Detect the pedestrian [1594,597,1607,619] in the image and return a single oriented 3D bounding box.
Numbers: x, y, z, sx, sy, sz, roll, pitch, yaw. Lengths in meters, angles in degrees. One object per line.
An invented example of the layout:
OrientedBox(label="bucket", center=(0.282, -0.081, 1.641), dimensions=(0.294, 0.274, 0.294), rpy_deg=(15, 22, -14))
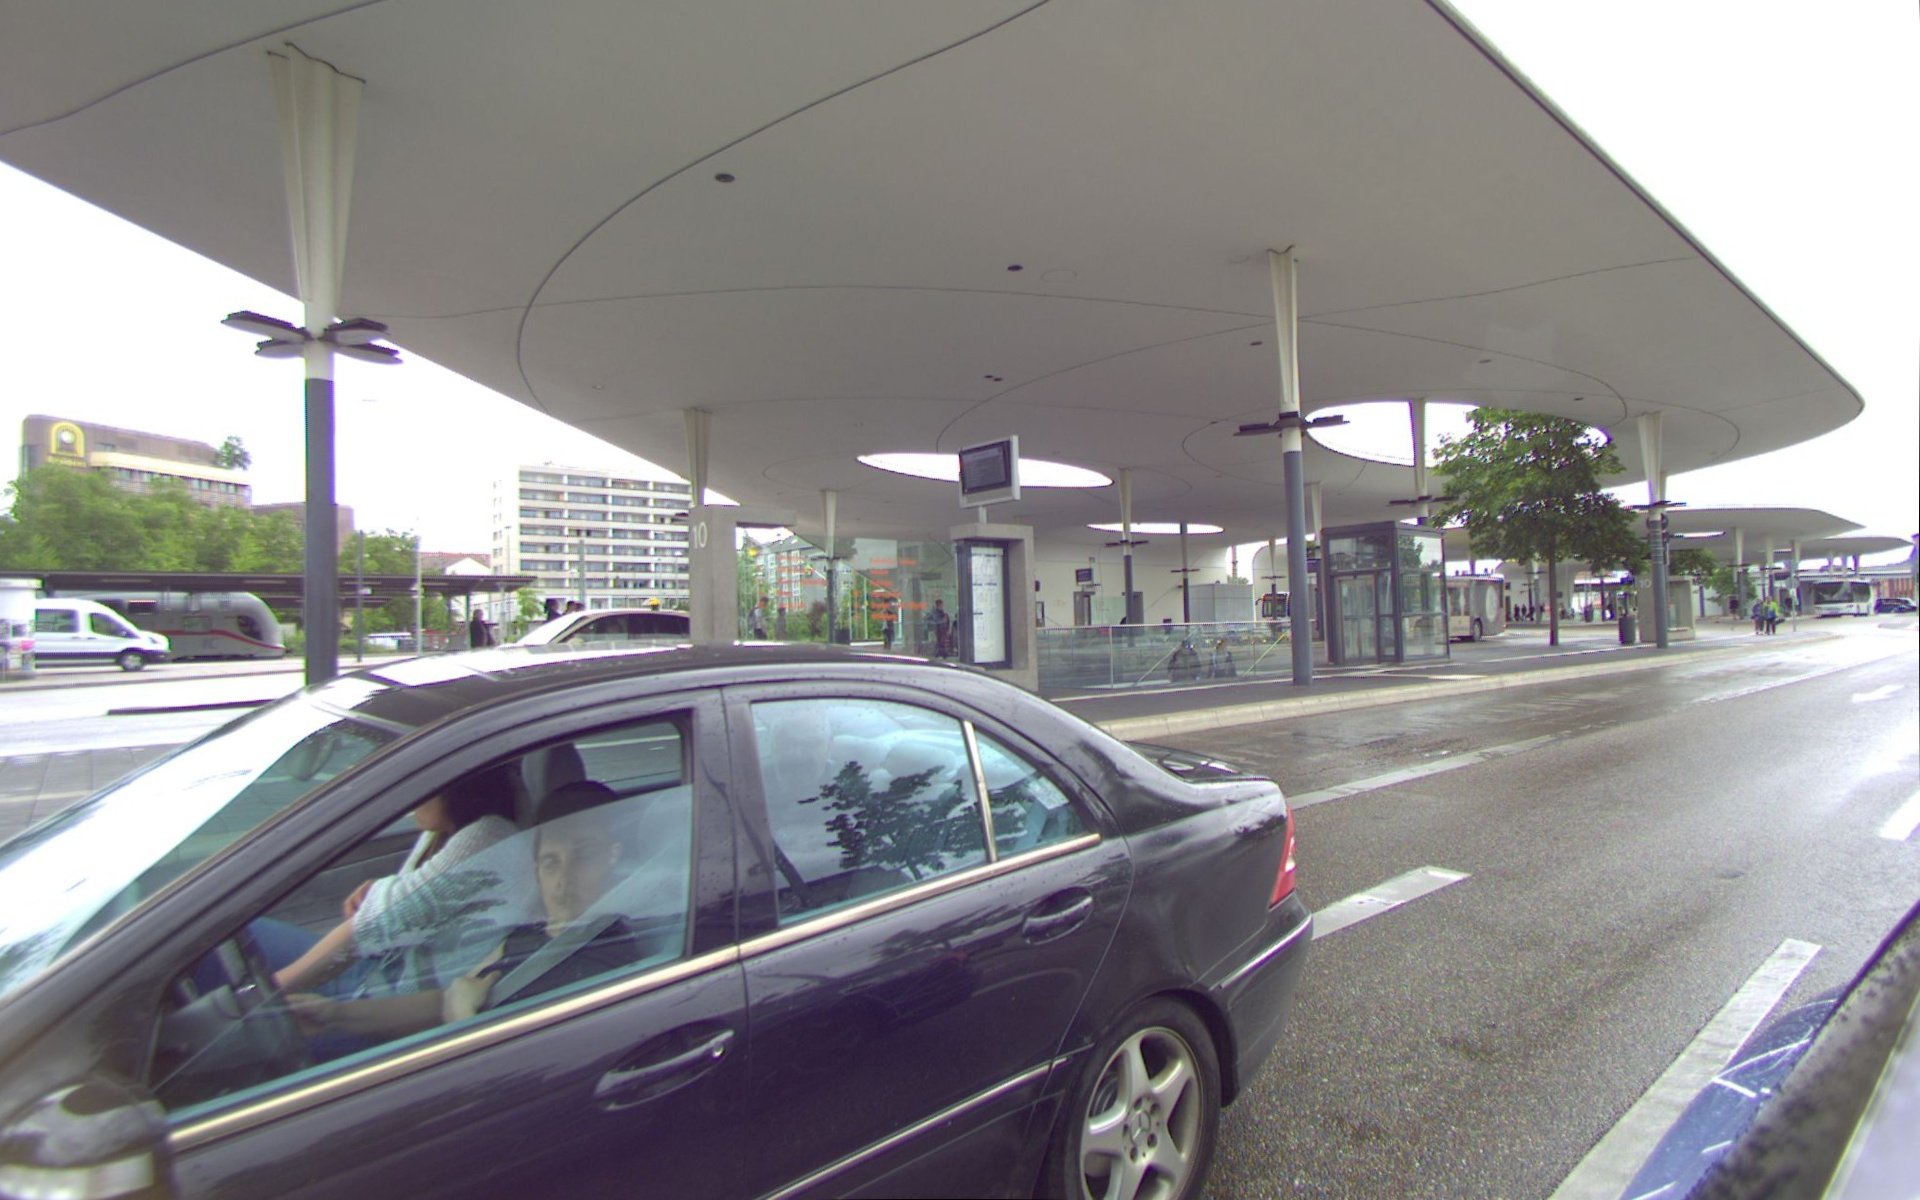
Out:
OrientedBox(label="pedestrian", center=(60.807, 0.765, 96.147), dimensions=(1.018, 2.039, 0.870), rpy_deg=(0, 0, 34))

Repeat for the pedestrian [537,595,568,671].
OrientedBox(label="pedestrian", center=(-8.317, 0.665, 20.632), dimensions=(0.470, 1.533, 0.535), rpy_deg=(0, -1, -36))

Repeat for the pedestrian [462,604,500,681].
OrientedBox(label="pedestrian", center=(-10.336, 0.904, 21.843), dimensions=(0.725, 1.615, 0.643), rpy_deg=(0, 0, -26))

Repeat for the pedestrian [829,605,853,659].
OrientedBox(label="pedestrian", center=(-3.414, 0.902, 28.986), dimensions=(0.515, 1.533, 0.479), rpy_deg=(0, -1, -37))

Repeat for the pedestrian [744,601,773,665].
OrientedBox(label="pedestrian", center=(-4.862, 0.782, 24.362), dimensions=(0.525, 1.533, 0.479), rpy_deg=(0, -1, -37))

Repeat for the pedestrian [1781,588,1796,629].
OrientedBox(label="pedestrian", center=(36.134, 0.360, 44.126), dimensions=(0.444, 1.786, 0.529), rpy_deg=(-2, -1, 43))

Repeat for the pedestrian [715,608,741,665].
OrientedBox(label="pedestrian", center=(-6.314, 0.978, 27.554), dimensions=(0.556, 1.533, 0.479), rpy_deg=(0, -1, -37))

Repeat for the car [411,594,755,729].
OrientedBox(label="car", center=(-5.564, 0.775, 15.241), dimensions=(4.462, 1.702, 1.997), rpy_deg=(-1, 0, -41))

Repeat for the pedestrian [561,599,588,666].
OrientedBox(label="pedestrian", center=(-8.939, 0.754, 23.471), dimensions=(0.469, 1.533, 0.535), rpy_deg=(0, -1, -6))

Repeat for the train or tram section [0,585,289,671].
OrientedBox(label="train or tram section", center=(-50.802, 1.413, 50.340), dimensions=(28.798, 4.234, 4.598), rpy_deg=(-1, 0, -41))

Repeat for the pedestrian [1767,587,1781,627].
OrientedBox(label="pedestrian", center=(35.775, 0.307, 44.476), dimensions=(0.444, 1.786, 0.529), rpy_deg=(-2, -1, 43))

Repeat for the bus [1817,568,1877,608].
OrientedBox(label="bus", center=(75.560, -0.951, 86.391), dimensions=(3.568, 3.138, 10.597), rpy_deg=(-1, -1, 40))

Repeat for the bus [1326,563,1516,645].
OrientedBox(label="bus", center=(20.171, 0.091, 43.677), dimensions=(11.714, 3.121, 2.874), rpy_deg=(-1, 0, -41))

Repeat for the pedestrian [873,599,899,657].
OrientedBox(label="pedestrian", center=(-1.971, 0.743, 26.944), dimensions=(0.525, 1.533, 0.479), rpy_deg=(0, -1, -37))

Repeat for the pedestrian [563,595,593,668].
OrientedBox(label="pedestrian", center=(-8.171, 0.670, 21.632), dimensions=(0.470, 1.533, 0.535), rpy_deg=(0, -1, -36))

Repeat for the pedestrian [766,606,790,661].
OrientedBox(label="pedestrian", center=(-5.097, 0.929, 28.317), dimensions=(0.515, 1.533, 0.479), rpy_deg=(0, -1, -37))

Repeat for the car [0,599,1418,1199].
OrientedBox(label="car", center=(-0.807, 0.762, 2.277), dimensions=(4.374, 1.484, 1.697), rpy_deg=(-1, 0, -41))

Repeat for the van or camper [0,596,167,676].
OrientedBox(label="van or camper", center=(-29.729, 1.116, 33.226), dimensions=(5.762, 2.464, 1.997), rpy_deg=(-1, 0, -41))

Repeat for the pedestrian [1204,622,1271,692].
OrientedBox(label="pedestrian", center=(5.410, 1.086, 19.734), dimensions=(0.940, 1.291, 0.882), rpy_deg=(0, 0, -37))

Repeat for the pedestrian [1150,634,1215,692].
OrientedBox(label="pedestrian", center=(4.440, 1.236, 20.192), dimensions=(0.940, 1.068, 0.882), rpy_deg=(0, 0, -37))
